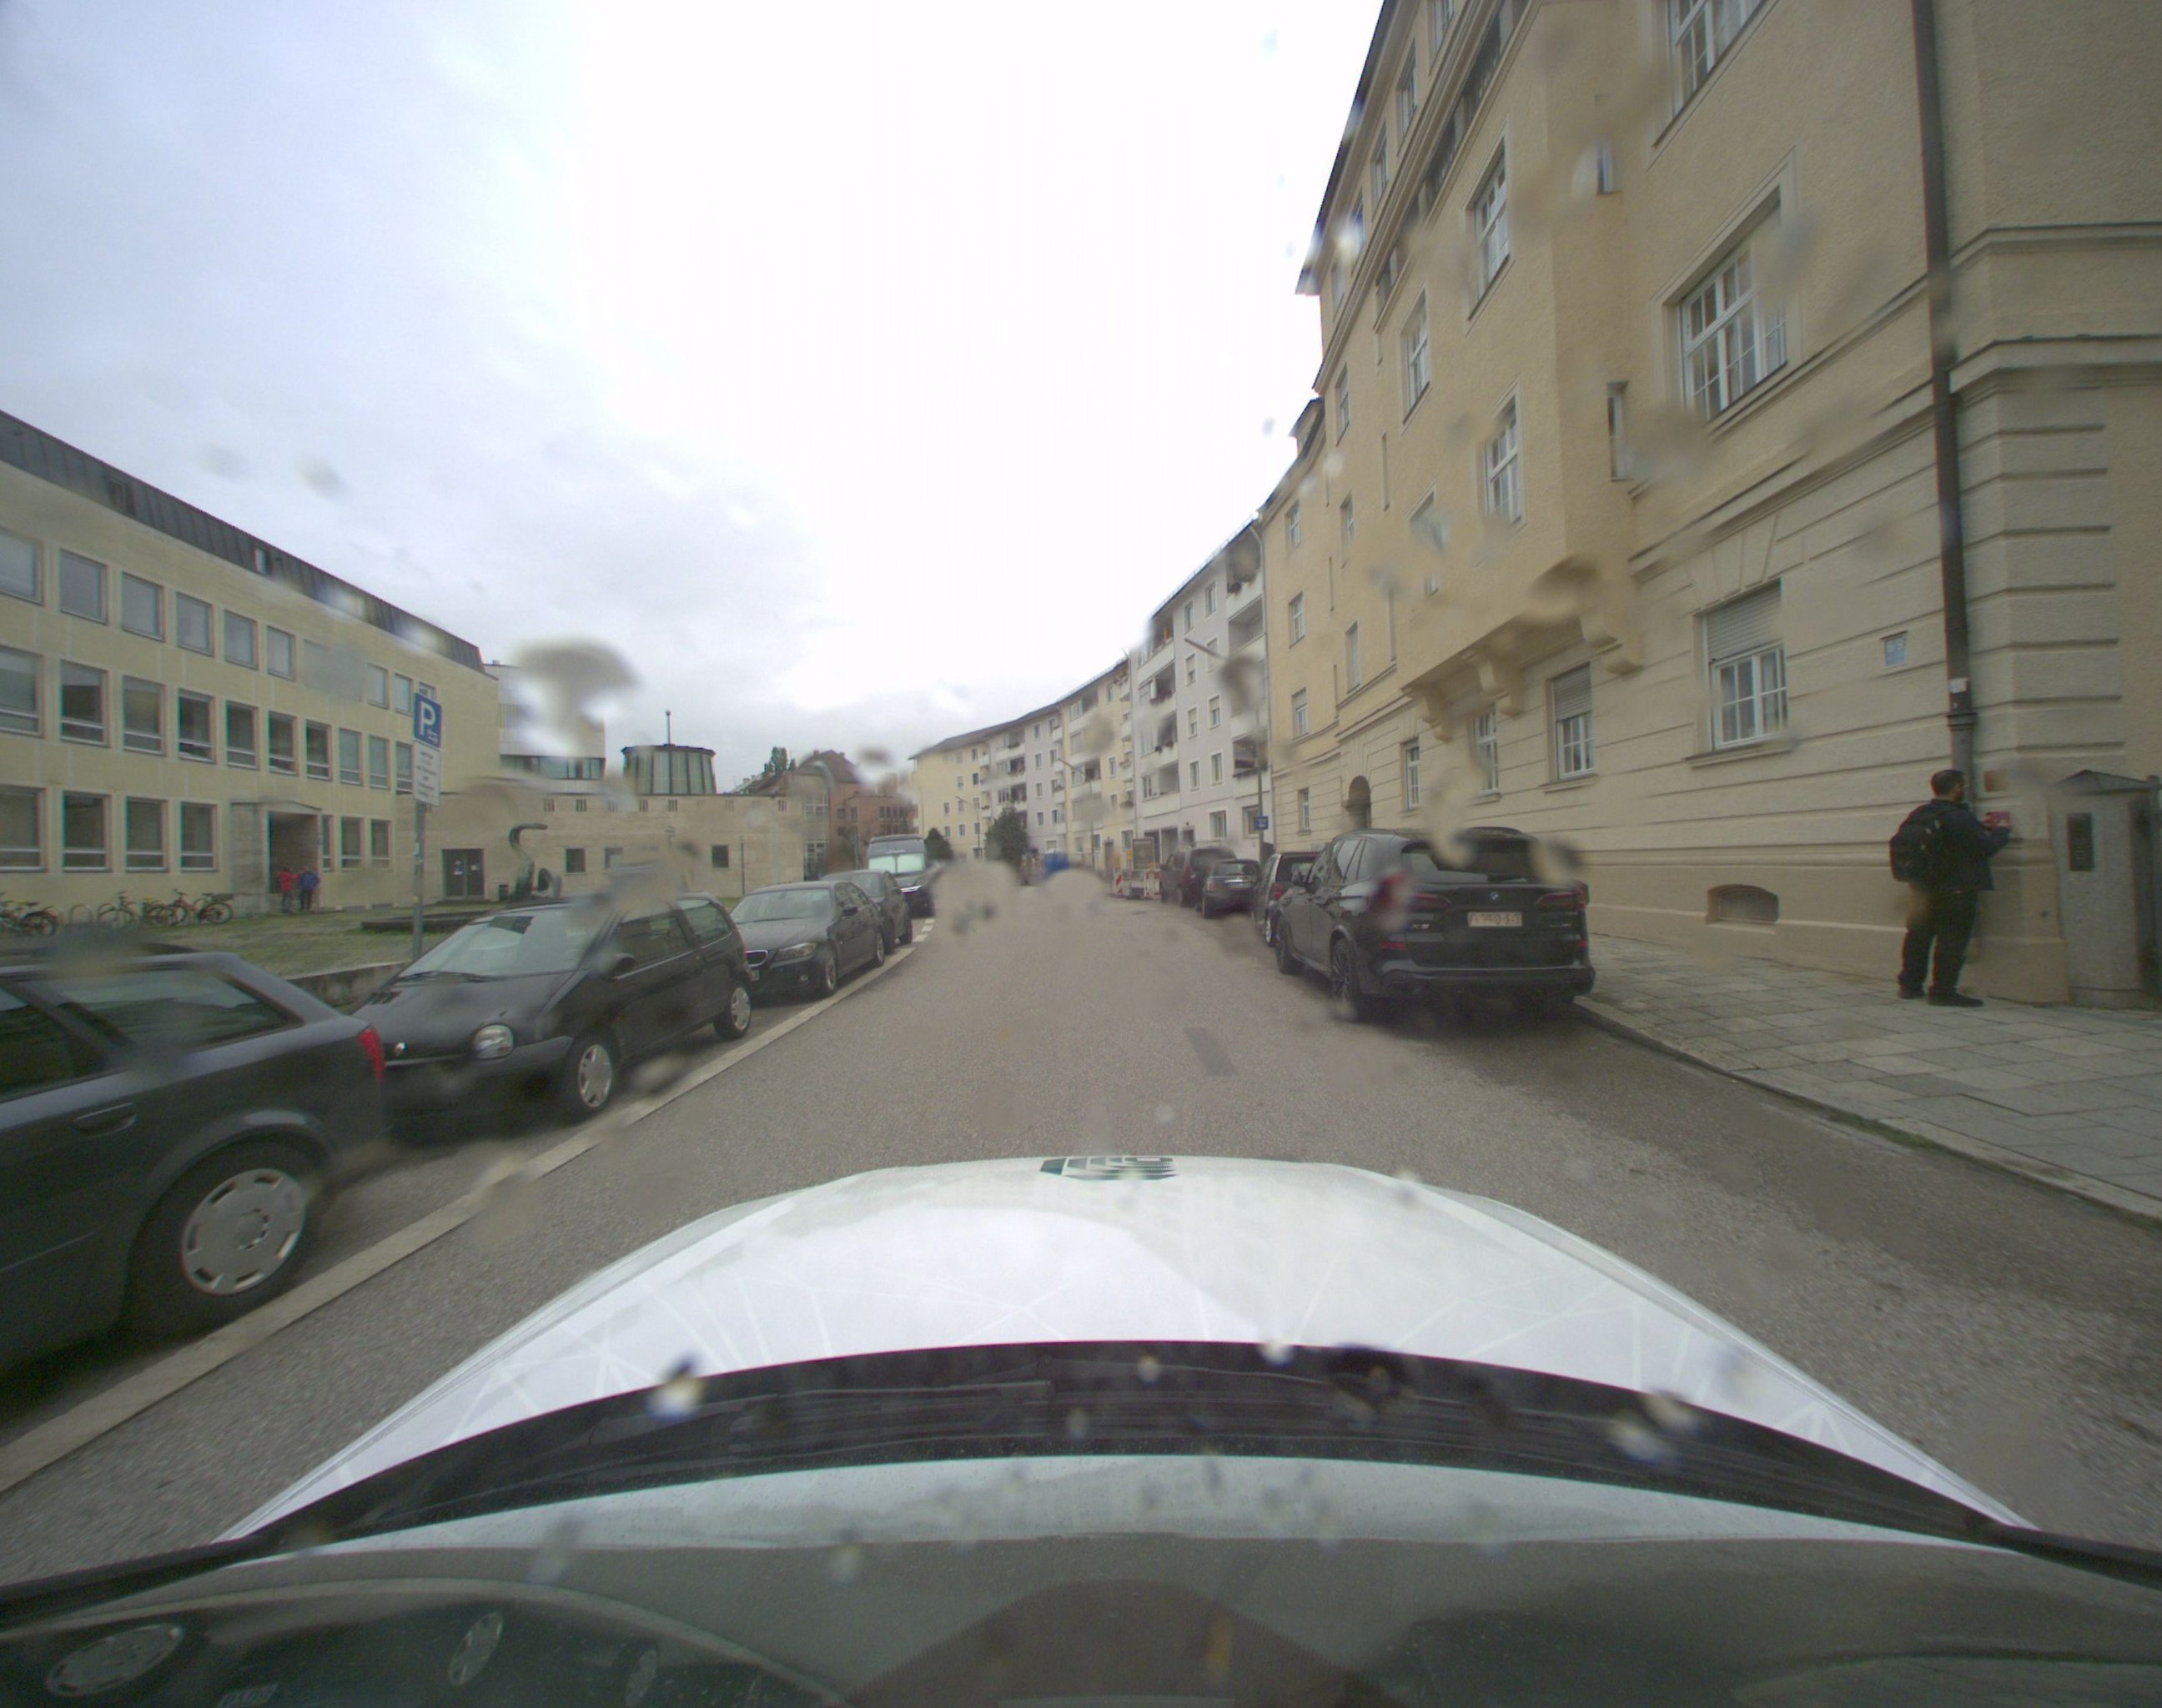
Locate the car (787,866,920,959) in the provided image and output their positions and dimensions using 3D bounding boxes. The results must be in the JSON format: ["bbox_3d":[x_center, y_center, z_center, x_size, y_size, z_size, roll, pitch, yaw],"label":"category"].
[{"bbox_3d":[-4.183,1.023,15.391,1.662,1.460,2.866,-4,-1,-2],"label":"car"}]

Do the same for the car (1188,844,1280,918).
[{"bbox_3d":[3.802,0.656,20.856,1.829,1.730,3.732,0,-1,3],"label":"car"}]

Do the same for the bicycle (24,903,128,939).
[{"bbox_3d":[-27.687,1.836,22.458,1.903,0.917,0.436,0,-1,-13],"label":"bicycle"}]

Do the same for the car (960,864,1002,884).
[{"bbox_3d":[-8.871,1.776,71.858,2.040,1.678,4.566,1,-1,-32],"label":"car"}]

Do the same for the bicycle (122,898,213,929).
[{"bbox_3d":[-27.793,1.803,24.795,1.903,0.917,0.436,0,-1,-13],"label":"bicycle"}]

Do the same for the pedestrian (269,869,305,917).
[{"bbox_3d":[-29.157,1.410,29.912,0.715,1.744,0.643,0,-1,-16],"label":"pedestrian"}]

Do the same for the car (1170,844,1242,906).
[{"bbox_3d":[3.880,0.652,25.882,1.829,1.799,4.241,0,-1,3],"label":"car"}]

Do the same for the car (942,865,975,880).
[{"bbox_3d":[-11.463,1.756,76.190,1.670,1.349,3.764,1,-3,-33],"label":"car"}]

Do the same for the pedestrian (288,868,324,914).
[{"bbox_3d":[-29.434,1.387,30.940,0.715,1.744,0.643,0,-1,-16],"label":"pedestrian"}]

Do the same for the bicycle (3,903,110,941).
[{"bbox_3d":[-27.348,1.800,21.757,1.878,0.940,0.530,0,-1,-10],"label":"bicycle"}]

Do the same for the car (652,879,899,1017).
[{"bbox_3d":[-3.869,1.109,11.164,1.716,1.364,4.211,-3,-1,0],"label":"car"}]

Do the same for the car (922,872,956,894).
[{"bbox_3d":[-14.022,2.837,80.125,1.759,2.082,4.470,1,-1,-31],"label":"car"}]

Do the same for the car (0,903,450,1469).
[{"bbox_3d":[-3.855,0.983,1.710,1.716,1.481,4.204,-3,-1,0],"label":"car"}]

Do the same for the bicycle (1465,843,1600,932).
[{"bbox_3d":[7.033,0.500,12.880,0.699,1.246,2.645,-2,-1,2],"label":"bicycle"}]

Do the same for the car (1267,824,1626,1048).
[{"bbox_3d":[3.359,0.612,8.649,1.920,1.730,4.691,0,0,3],"label":"car"}]

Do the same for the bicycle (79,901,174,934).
[{"bbox_3d":[-28.032,1.863,23.947,1.903,0.917,0.436,0,-1,-13],"label":"bicycle"}]

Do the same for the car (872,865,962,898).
[{"bbox_3d":[-7.819,1.290,39.040,1.654,1.530,4.007,-1,-1,43],"label":"car"}]

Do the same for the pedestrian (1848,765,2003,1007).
[{"bbox_3d":[6.600,0.238,6.410,0.676,1.760,0.698,-1,-2,34],"label":"pedestrian"}]

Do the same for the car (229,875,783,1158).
[{"bbox_3d":[-3.984,0.975,6.547,1.716,1.481,3.753,-3,-1,0],"label":"car"}]

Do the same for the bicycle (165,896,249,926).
[{"bbox_3d":[-28.188,1.831,26.284,1.903,0.917,0.436,0,-1,-13],"label":"bicycle"}]

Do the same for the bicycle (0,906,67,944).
[{"bbox_3d":[-27.264,1.804,20.739,1.903,0.917,0.436,0,-1,-13],"label":"bicycle"}]

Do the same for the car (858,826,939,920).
[{"bbox_3d":[-5.826,0.587,26.550,2.145,2.574,6.188,-3,0,-11],"label":"car"}]

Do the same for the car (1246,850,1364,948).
[{"bbox_3d":[3.840,0.736,14.370,1.500,1.557,2.866,0,-1,4],"label":"car"}]
